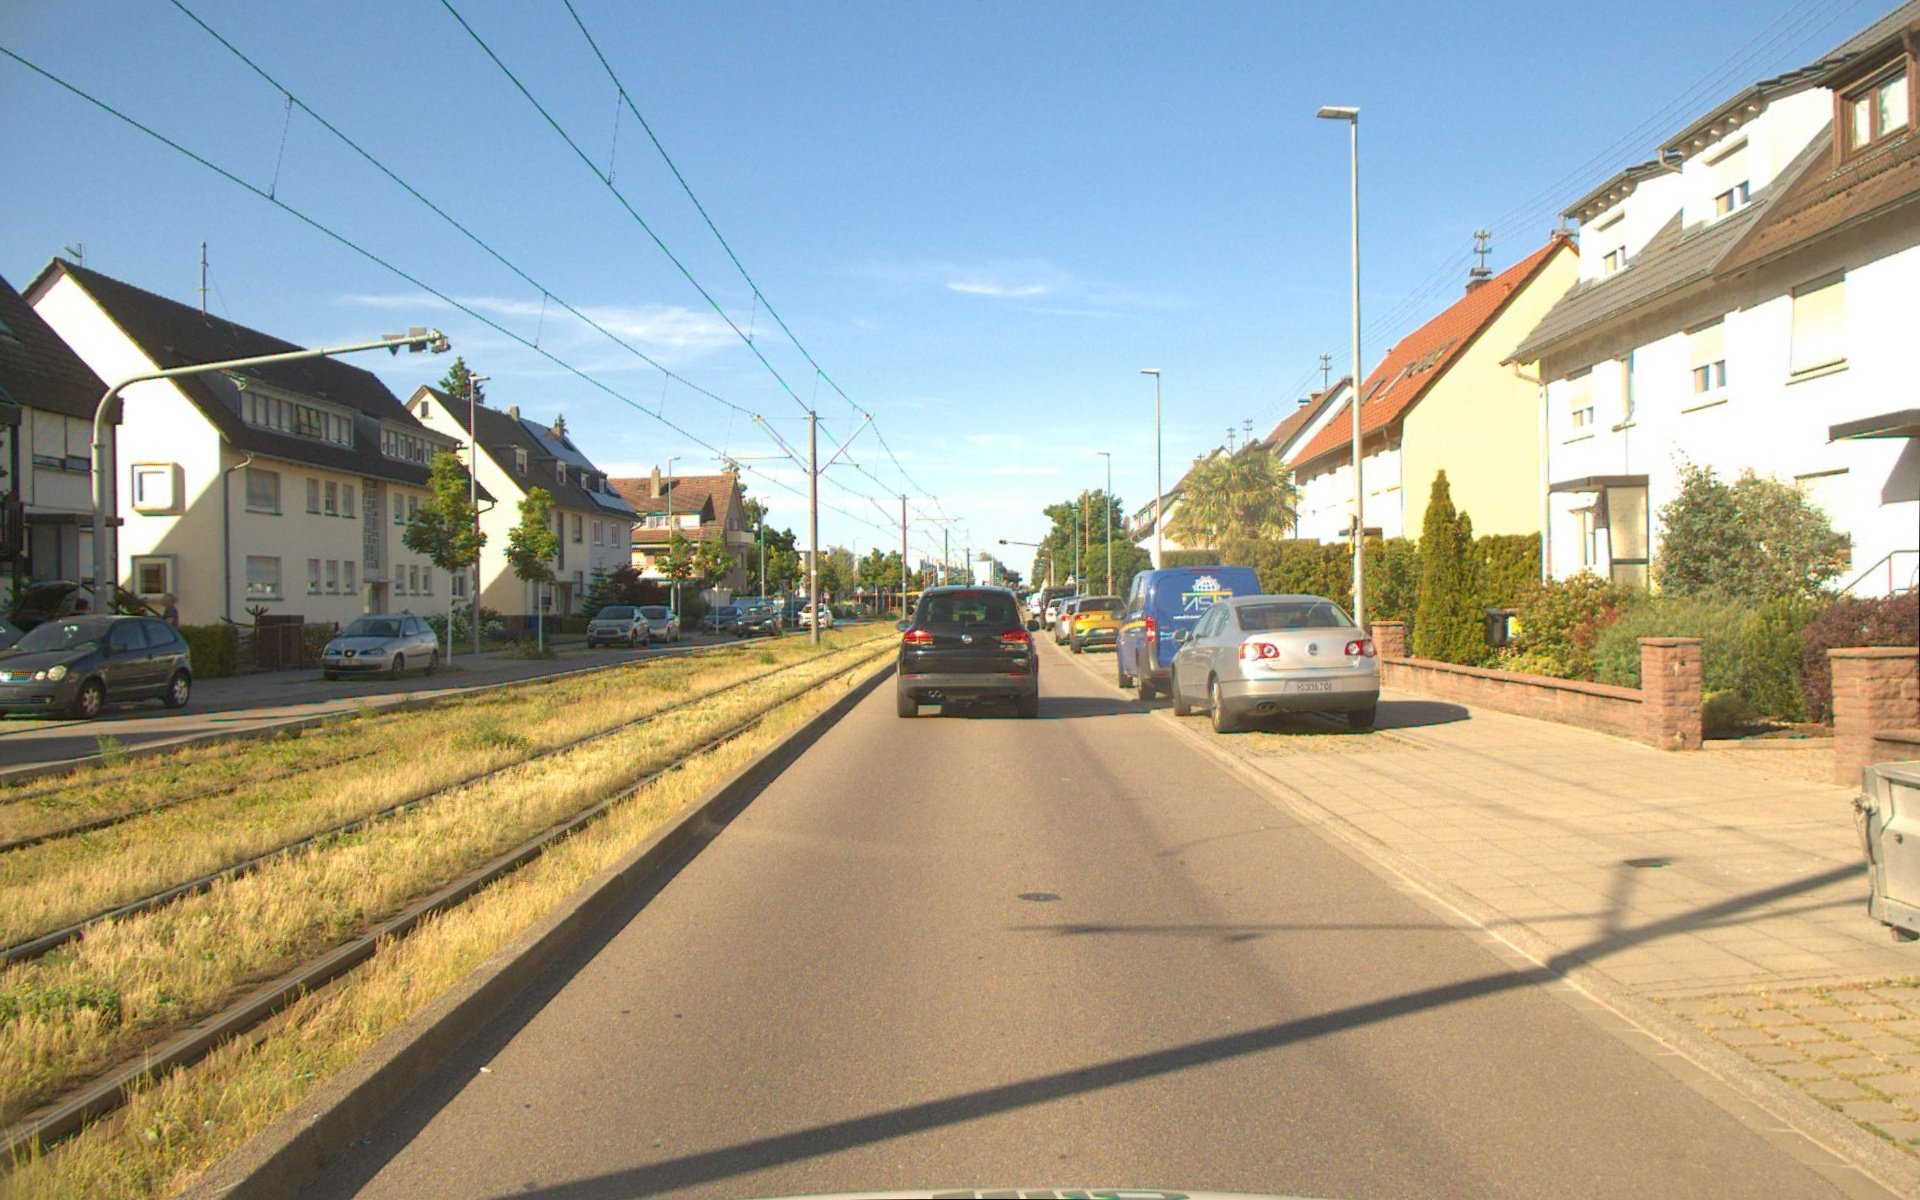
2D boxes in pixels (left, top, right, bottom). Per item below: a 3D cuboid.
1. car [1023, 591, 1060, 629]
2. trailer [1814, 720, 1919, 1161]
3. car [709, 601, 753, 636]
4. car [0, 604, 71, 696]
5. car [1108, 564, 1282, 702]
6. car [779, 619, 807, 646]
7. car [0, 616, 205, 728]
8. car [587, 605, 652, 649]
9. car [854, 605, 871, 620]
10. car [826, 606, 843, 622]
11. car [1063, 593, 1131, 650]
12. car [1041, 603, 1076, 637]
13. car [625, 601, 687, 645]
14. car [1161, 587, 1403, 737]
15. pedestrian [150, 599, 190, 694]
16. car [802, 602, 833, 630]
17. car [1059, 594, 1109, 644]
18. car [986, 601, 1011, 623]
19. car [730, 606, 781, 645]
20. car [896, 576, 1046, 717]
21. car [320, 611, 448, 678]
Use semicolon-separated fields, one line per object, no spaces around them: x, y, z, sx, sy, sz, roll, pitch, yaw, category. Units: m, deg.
4.107;0.499;84.203;1.733;1.876;3.865;-1;0;1;car
3.604;0.856;2.607;2.159;1.113;4.370;-3;0;-1;trailer
-11.497;0.941;83.068;1.626;1.609;3.999;-1;-2;0;car
-18.277;0.919;29.509;3.828;1.595;1.732;-1;0;-8;car
3.523;0.468;25.707;1.953;1.894;4.917;-1;0;0;car
-10.689;2.064;106.018;1.435;1.706;3.287;-1;-1;0;car
-13.174;1.032;24.973;1.584;1.478;3.720;-1;0;4;car
-12.494;0.955;60.868;1.625;1.523;3.579;-1;0;0;car
-9.695;1.227;164.395;1.435;1.479;3.216;-1;-1;0;car
-12.475;1.402;164.226;1.435;1.479;3.287;-1;-1;0;car
3.928;0.616;47.877;1.611;1.561;3.864;-1;0;0;car
4.579;0.912;77.307;1.412;1.503;3.865;-1;0;1;car
-12.283;0.894;67.029;1.766;1.660;4.000;-1;0;0;car
3.606;0.649;19.333;1.750;1.466;4.457;-3;0;-2;car
-14.927;0.872;31.257;0.459;1.776;0.535;-1;0;-1;pedestrian
-7.980;0.909;92.548;1.435;1.479;3.287;-1;-1;0;car
4.111;0.620;55.148;1.421;1.579;3.830;-1;0;1;car
2.551;0.818;111.317;1.540;1.415;3.614;-1;0;-1;car
-9.454;1.203;76.552;1.835;1.684;3.999;-1;-2;0;car
0.060;0.594;22.274;1.775;1.700;4.255;1;-1;-3;car
-13.071;1.024;37.725;1.585;1.434;3.717;-1;-2;0;car
